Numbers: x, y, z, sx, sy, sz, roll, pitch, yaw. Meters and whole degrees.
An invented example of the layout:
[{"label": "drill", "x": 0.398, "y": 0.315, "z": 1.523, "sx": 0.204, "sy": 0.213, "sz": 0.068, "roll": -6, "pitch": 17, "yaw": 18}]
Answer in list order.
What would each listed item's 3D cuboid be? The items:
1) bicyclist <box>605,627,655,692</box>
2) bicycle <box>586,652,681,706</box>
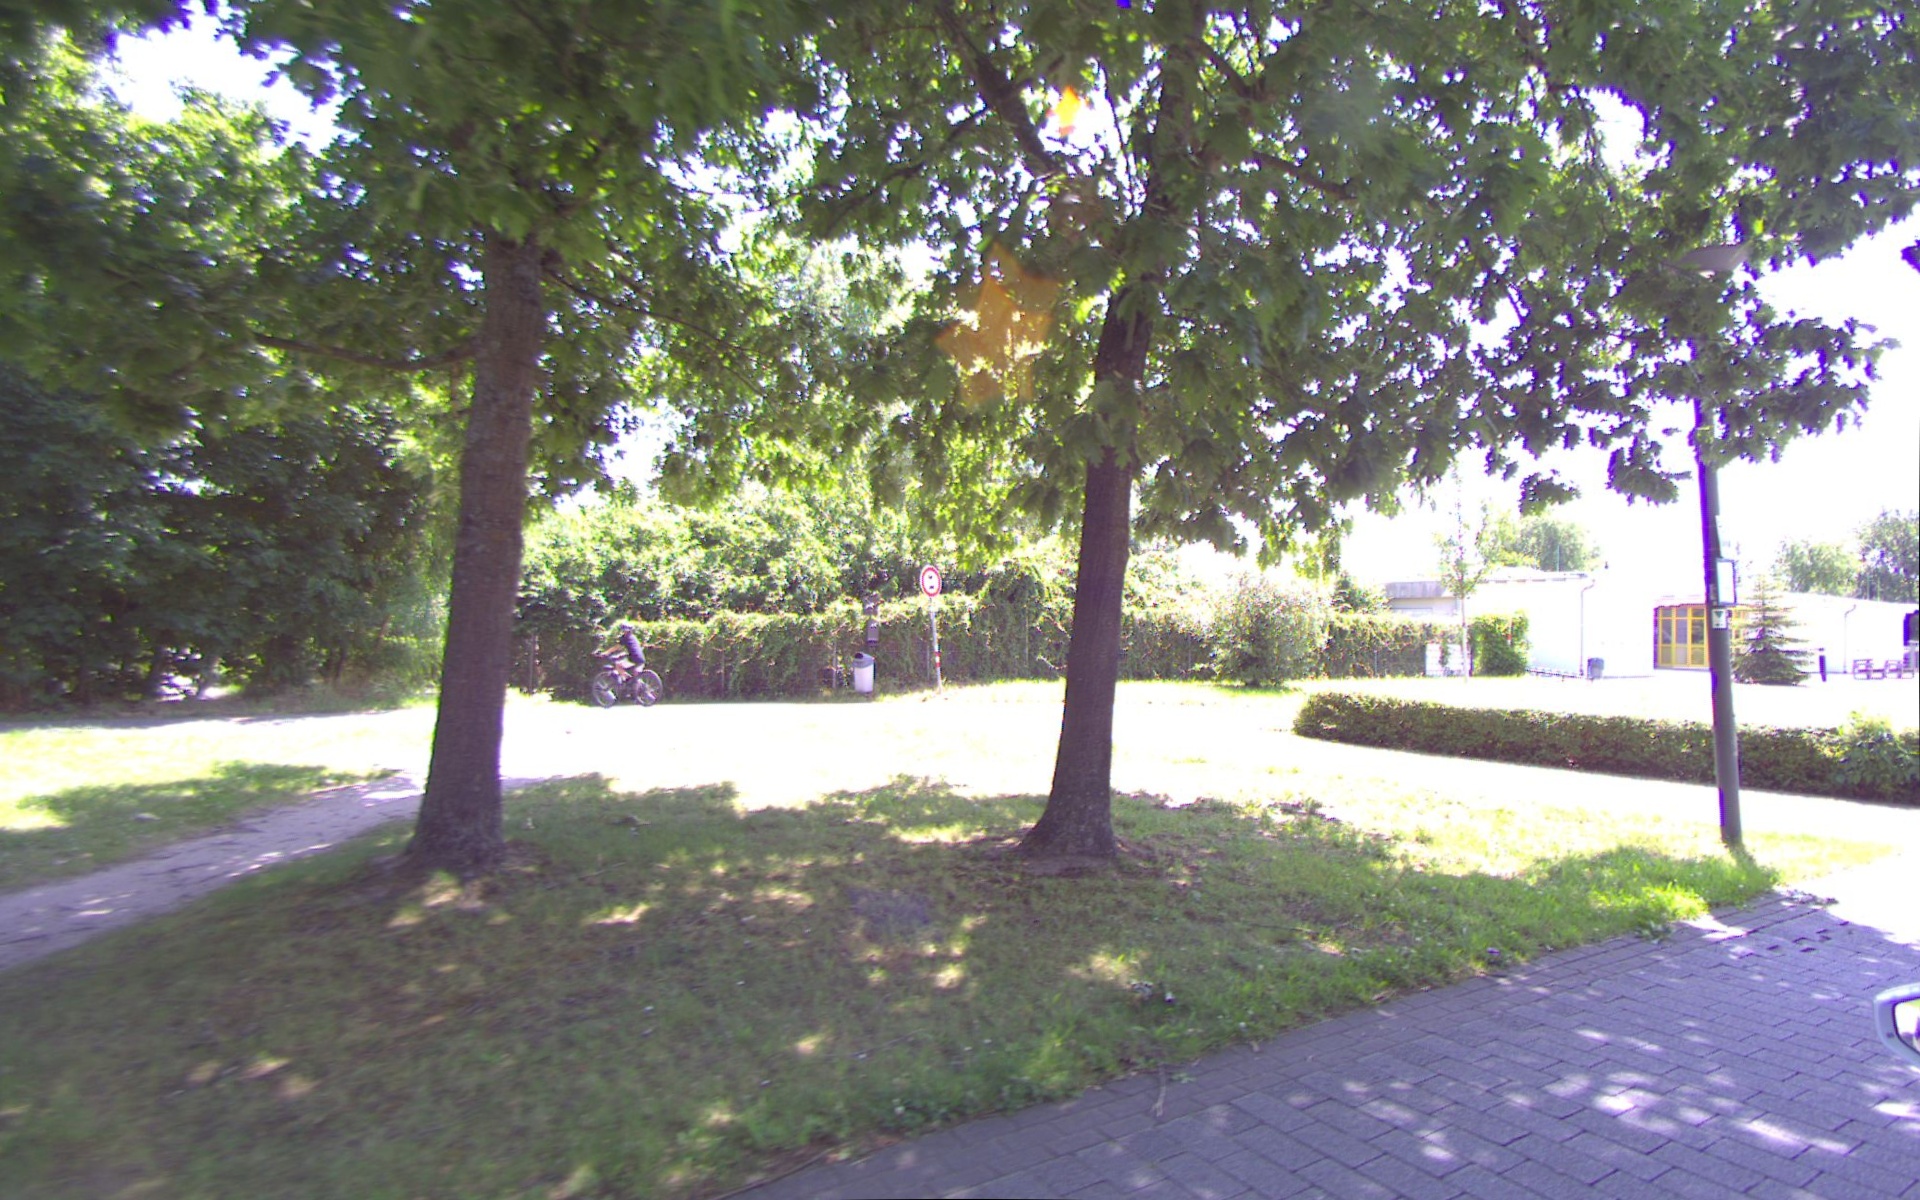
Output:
[{"label": "bicyclist", "x": -6.144, "y": 1.099, "z": 18.717, "sx": 0.635, "sy": 1.180, "sz": 0.599, "roll": 0, "pitch": -2, "yaw": 14}, {"label": "bicycle", "x": -6.074, "y": 1.448, "z": 18.688, "sx": 1.587, "sy": 0.941, "sz": 0.599, "roll": 0, "pitch": -2, "yaw": 14}]
